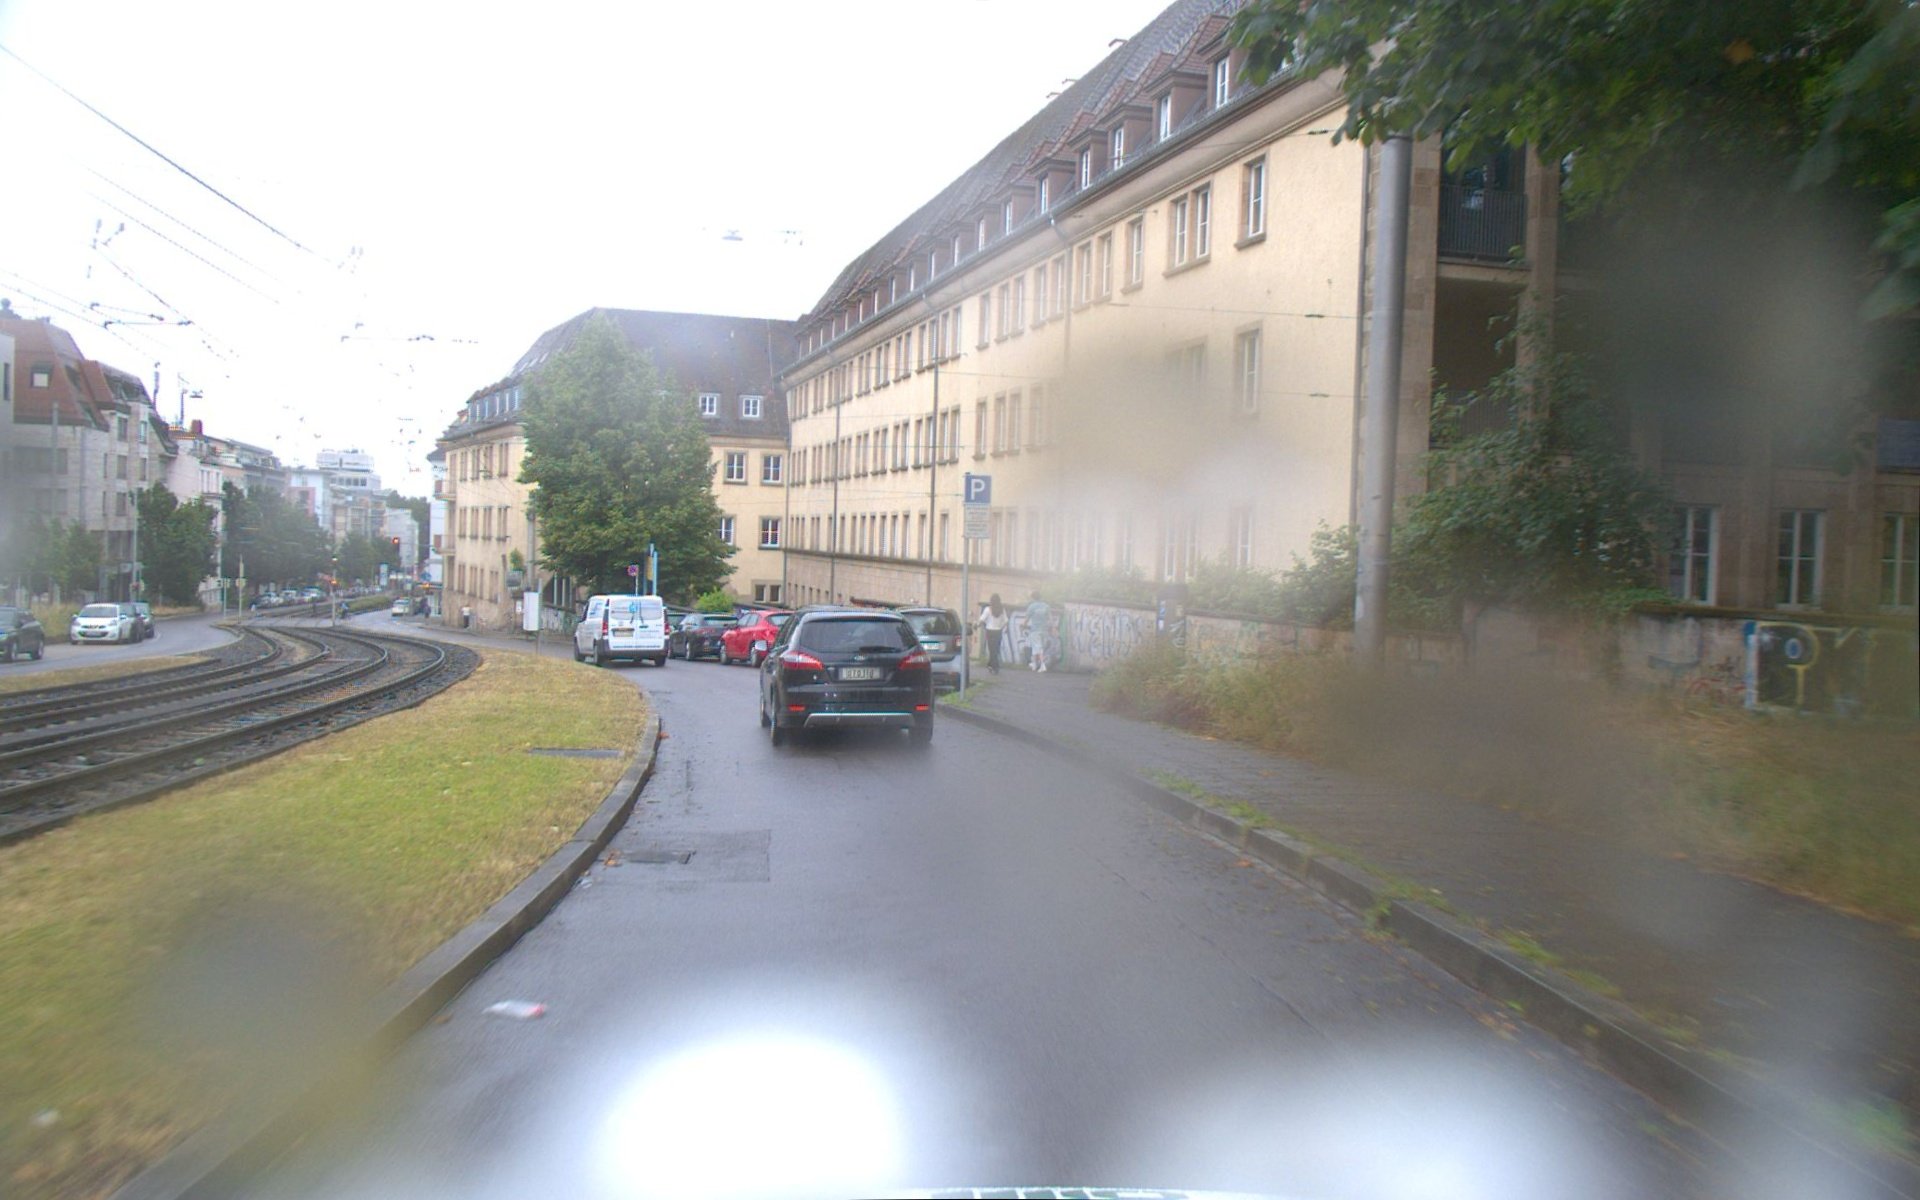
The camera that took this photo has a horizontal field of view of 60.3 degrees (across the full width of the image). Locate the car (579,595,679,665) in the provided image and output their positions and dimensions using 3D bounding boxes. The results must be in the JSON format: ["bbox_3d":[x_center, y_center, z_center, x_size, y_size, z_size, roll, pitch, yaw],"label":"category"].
[{"bbox_3d":[-9.070,0.772,45.099,2.105,1.776,4.194,0,1,-20],"label":"car"}]

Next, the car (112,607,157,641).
[{"bbox_3d":[-38.223,1.087,76.635,1.697,1.540,4.285,0,0,-24],"label":"car"}]

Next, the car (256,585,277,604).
[{"bbox_3d":[-75.700,-0.590,180.541,1.964,2.049,3.976,0,0,-20],"label":"car"}]

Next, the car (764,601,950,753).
[{"bbox_3d":[-1.300,0.799,19.228,1.884,1.505,3.993,0,1,-8],"label":"car"}]

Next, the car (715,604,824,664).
[{"bbox_3d":[-5.168,0.887,44.460,1.645,1.502,4.032,1,-1,-26],"label":"car"}]

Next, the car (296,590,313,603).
[{"bbox_3d":[-85.570,-0.439,216.043,1.964,1.691,3.976,0,0,-20],"label":"car"}]

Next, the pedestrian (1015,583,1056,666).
[{"bbox_3d":[1.653,0.537,36.150,0.705,1.785,0.736,-1,0,-14],"label":"pedestrian"}]

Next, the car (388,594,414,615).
[{"bbox_3d":[-50.940,0.405,150.799,1.960,1.803,3.985,0,0,-14],"label":"car"}]

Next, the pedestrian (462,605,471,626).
[{"bbox_3d":[-32.110,0.989,107.676,0.498,1.338,0.507,0,0,-25],"label":"pedestrian"}]

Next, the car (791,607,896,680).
[{"bbox_3d":[-2.843,0.992,39.574,1.639,1.600,3.836,-1,0,-18],"label":"car"}]

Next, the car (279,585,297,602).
[{"bbox_3d":[-82.511,-0.781,203.103,1.964,2.049,3.976,0,0,-20],"label":"car"}]

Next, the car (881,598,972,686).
[{"bbox_3d":[-0.640,0.731,30.220,1.566,1.491,2.719,-1,0,-3],"label":"car"}]

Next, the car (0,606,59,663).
[{"bbox_3d":[-26.199,0.900,45.153,1.934,1.456,4.180,1,0,-16],"label":"car"}]

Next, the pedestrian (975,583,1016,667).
[{"bbox_3d":[0.774,0.532,35.965,0.705,1.785,0.736,-1,0,-14],"label":"pedestrian"}]

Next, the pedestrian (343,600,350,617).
[{"bbox_3d":[-49.189,0.700,132.579,0.502,1.338,0.502,0,0,-23],"label":"pedestrian"}]

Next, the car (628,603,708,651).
[{"bbox_3d":[-9.721,0.871,54.857,1.644,1.502,4.077,-1,0,-25],"label":"car"}]

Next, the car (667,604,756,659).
[{"bbox_3d":[-7.464,0.901,49.314,1.642,1.502,4.427,-1,0,-22],"label":"car"}]

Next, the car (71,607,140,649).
[{"bbox_3d":[-32.744,1.049,63.441,1.738,1.505,3.715,0,0,-18],"label":"car"}]

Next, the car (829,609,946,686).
[{"bbox_3d":[-1.547,0.932,34.093,1.512,1.441,3.626,-1,0,-17],"label":"car"}]
